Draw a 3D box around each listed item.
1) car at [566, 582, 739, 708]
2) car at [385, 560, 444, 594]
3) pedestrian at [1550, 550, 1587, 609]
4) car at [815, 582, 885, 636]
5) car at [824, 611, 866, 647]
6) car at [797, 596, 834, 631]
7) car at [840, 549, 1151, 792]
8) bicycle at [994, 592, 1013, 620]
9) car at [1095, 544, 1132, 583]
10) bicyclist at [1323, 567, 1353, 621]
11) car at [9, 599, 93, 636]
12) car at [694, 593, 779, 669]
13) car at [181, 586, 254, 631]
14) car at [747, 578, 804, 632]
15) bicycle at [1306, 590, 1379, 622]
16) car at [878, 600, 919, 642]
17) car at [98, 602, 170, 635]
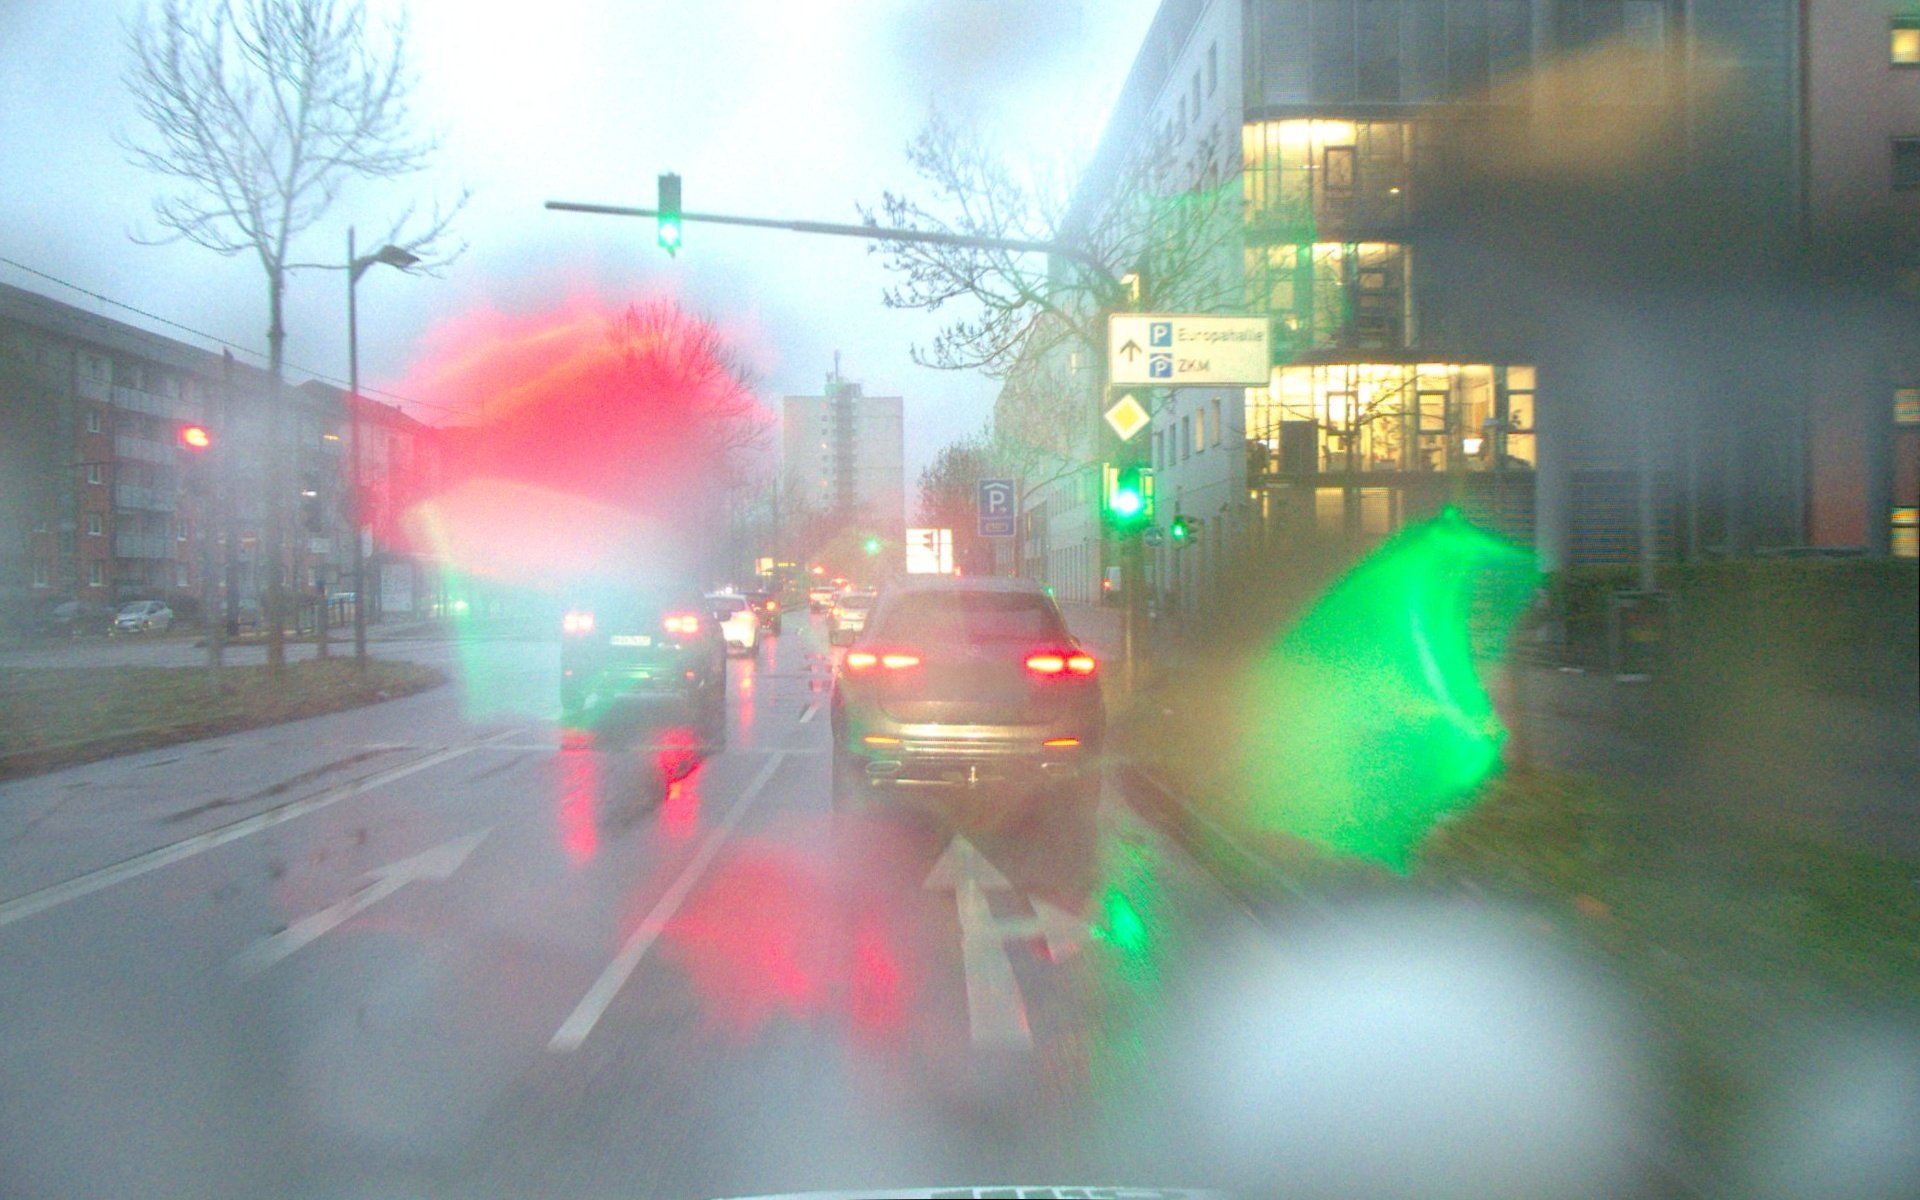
[{"bbox_3d":[-3.959,0.528,21.879,1.782,1.476,3.997,1,0,-4],"label":"car"},{"bbox_3d":[-22.799,-0.963,69.198,1.416,1.365,3.635,1,0,-3],"label":"car"},{"bbox_3d":[17.550,-0.584,47.712,0.791,1.683,0.726,1,0,0],"label":"pedestrian"},{"bbox_3d":[-3.348,0.254,50.807,1.829,1.570,3.611,1,0,1],"label":"car"},{"bbox_3d":[-5.118,1.268,73.847,1.527,1.485,3.112,1,0,1],"label":"car"},{"bbox_3d":[-8.972,0.826,102.856,1.953,2.049,3.999,1,0,-1],"label":"car"},{"bbox_3d":[0.157,0.445,12.357,1.953,1.509,3.698,1,0,-2],"label":"car"},{"bbox_3d":[1.607,0.209,60.971,0.534,0.982,1.345,1,0,-5],"label":"bicycle"},{"bbox_3d":[7.456,-1.746,80.566,1.593,1.790,3.423,1,0,2],"label":"car"},{"bbox_3d":[9.709,-0.160,42.480,0.610,1.353,0.564,1,0,31],"label":"bicyclist"},{"bbox_3d":[-34.543,0.658,62.919,1.416,1.309,3.384,1,0,-3],"label":"car"},{"bbox_3d":[-5.263,0.702,39.351,1.656,1.664,3.472,1,0,-2],"label":"car"},{"bbox_3d":[-35.101,0.388,78.257,1.955,2.049,3.995,1,0,-6],"label":"car"},{"bbox_3d":[-6.413,0.164,57.788,1.628,1.790,3.567,1,0,-1],"label":"car"},{"bbox_3d":[9.797,0.153,42.418,1.697,0.758,0.650,2,0,32],"label":"bicycle"},{"bbox_3d":[-2.693,0.896,72.723,1.542,1.735,3.703,1,0,1],"label":"car"},{"bbox_3d":[-34.513,0.759,69.205,1.416,1.309,3.384,1,0,-3],"label":"car"}]
